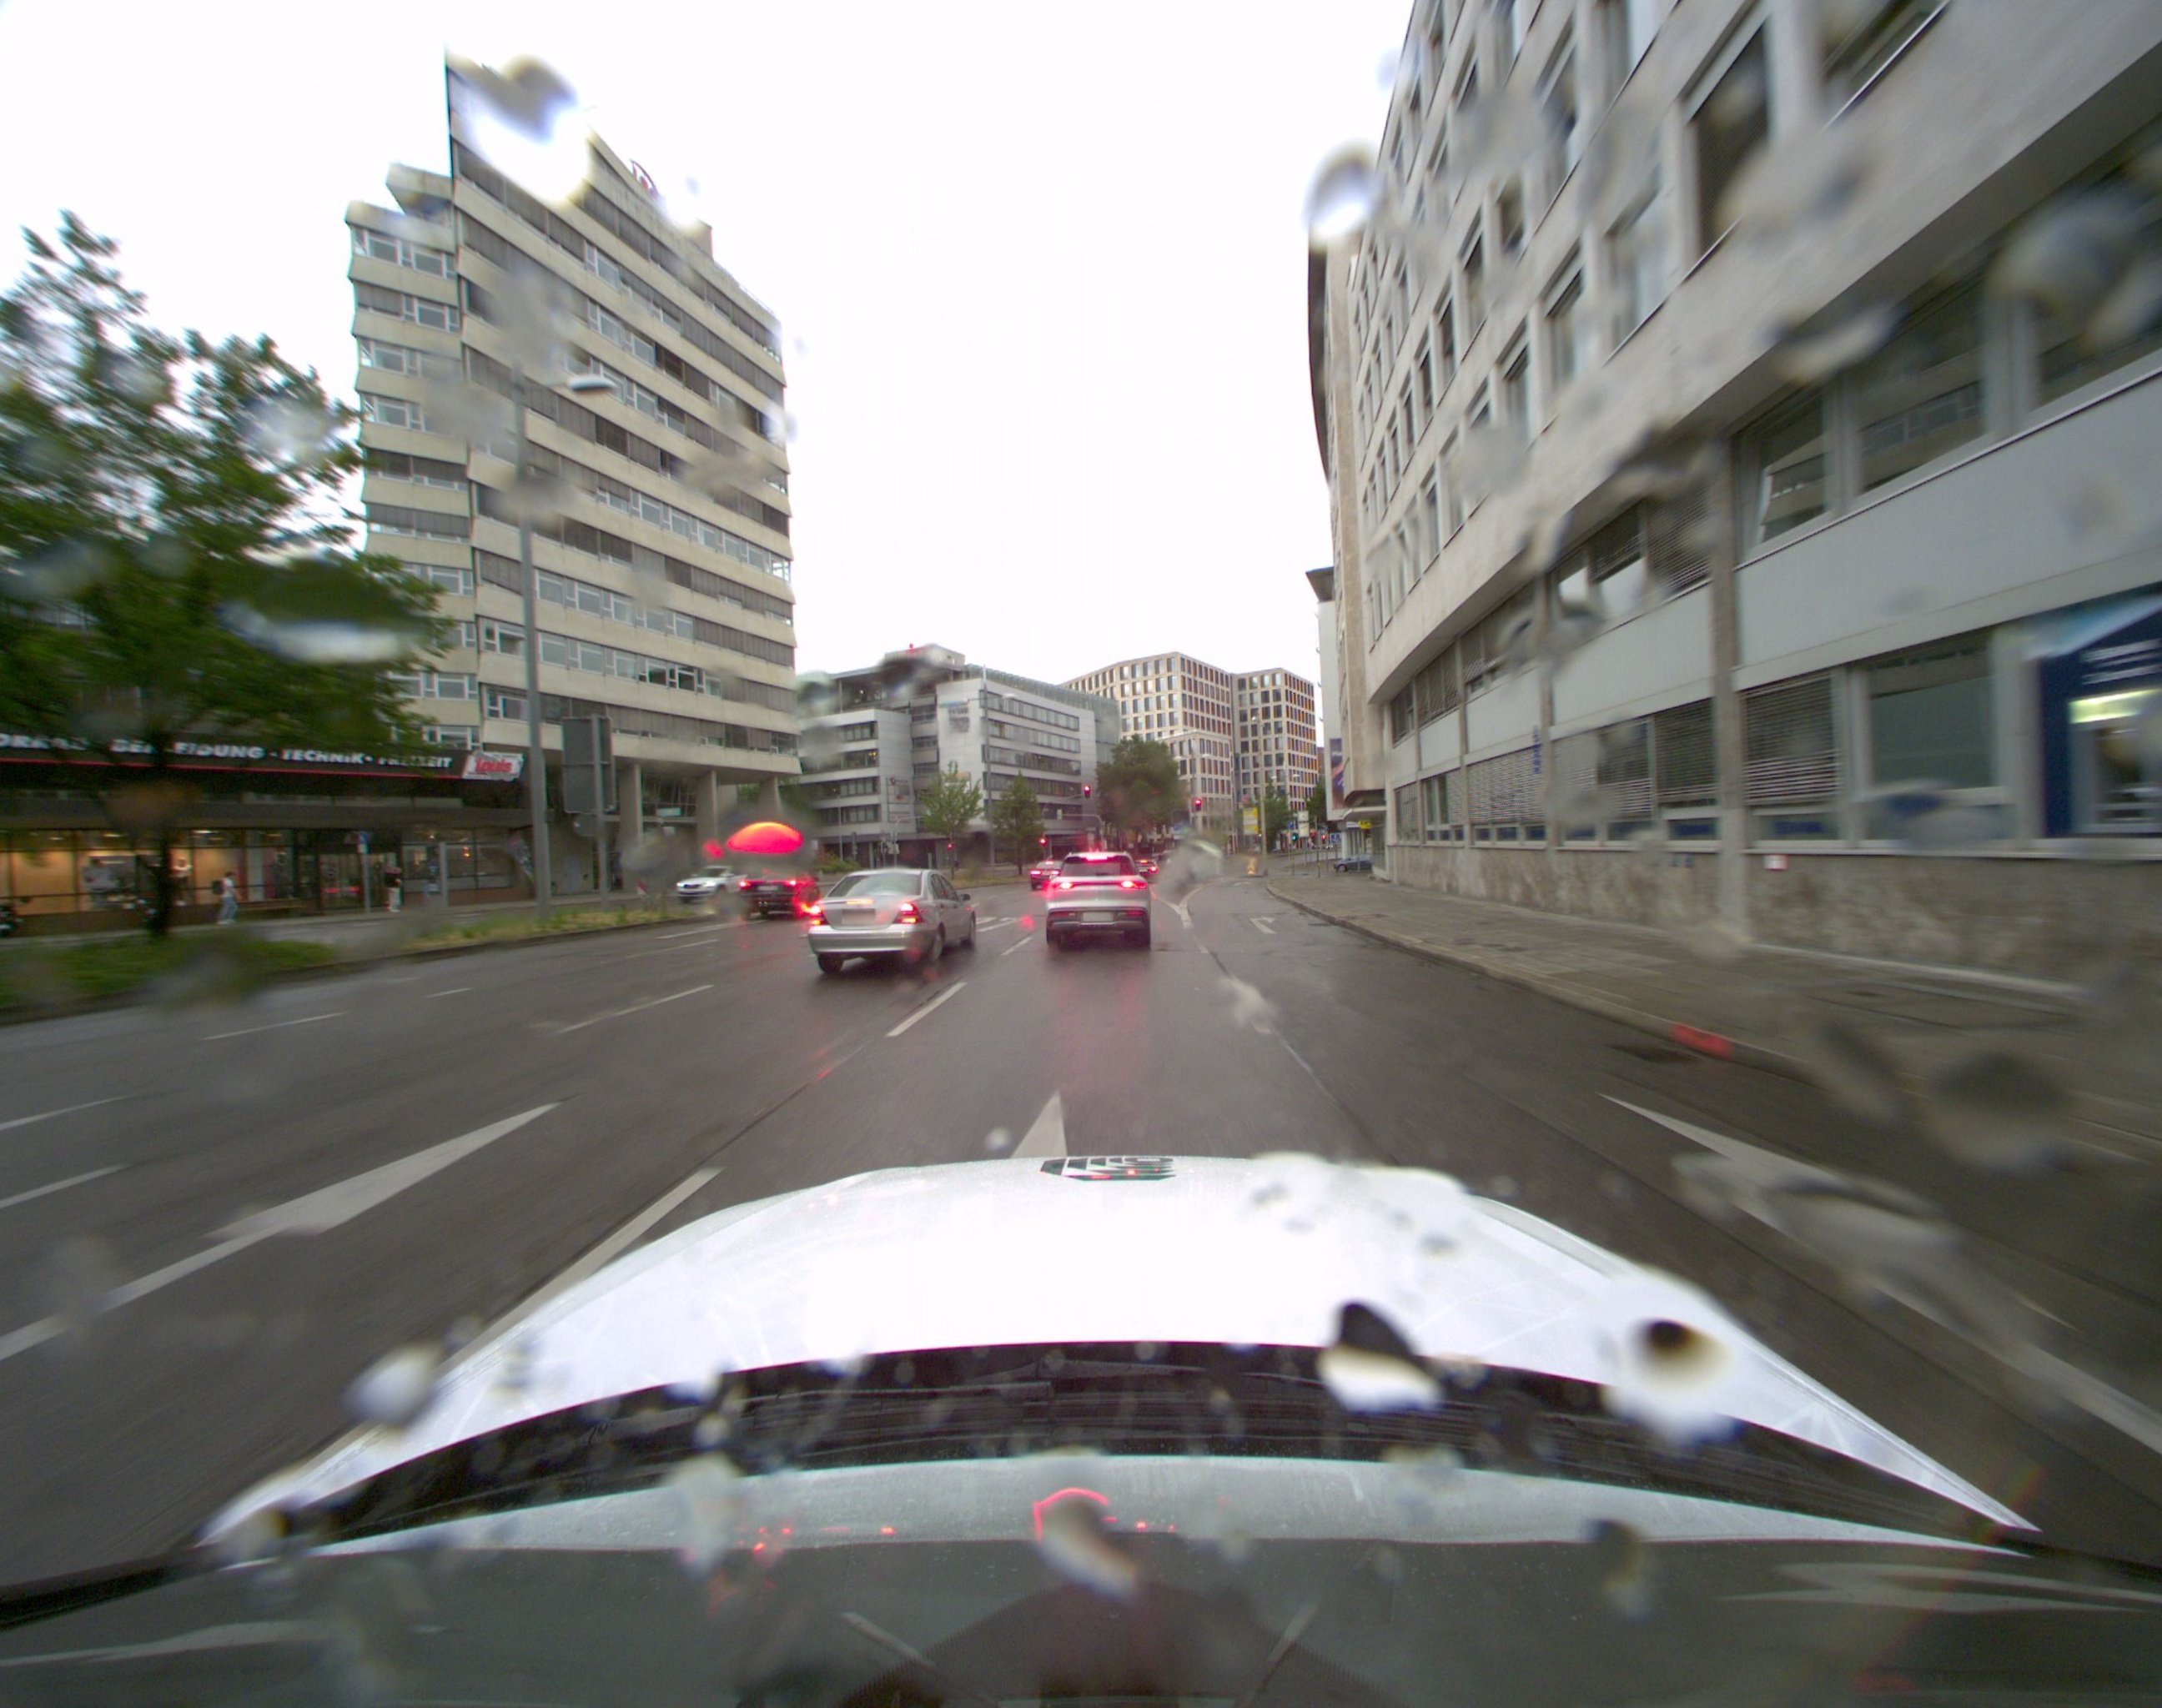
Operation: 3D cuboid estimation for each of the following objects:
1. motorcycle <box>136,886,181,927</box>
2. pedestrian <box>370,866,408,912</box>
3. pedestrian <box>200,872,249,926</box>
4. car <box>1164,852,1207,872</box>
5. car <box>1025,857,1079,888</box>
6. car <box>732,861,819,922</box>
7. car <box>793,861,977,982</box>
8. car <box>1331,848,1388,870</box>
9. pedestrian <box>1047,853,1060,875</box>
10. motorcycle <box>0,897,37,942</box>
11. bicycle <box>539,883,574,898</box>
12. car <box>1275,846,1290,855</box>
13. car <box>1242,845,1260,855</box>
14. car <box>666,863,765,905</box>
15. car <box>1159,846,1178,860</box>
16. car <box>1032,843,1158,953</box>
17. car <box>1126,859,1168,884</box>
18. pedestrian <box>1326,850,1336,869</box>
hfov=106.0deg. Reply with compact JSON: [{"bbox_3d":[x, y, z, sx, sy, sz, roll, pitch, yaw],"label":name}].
[{"bbox_3d":[-32.969,1.856,29.084,2.855,1.374,0.809,-2,-1,37],"label":"motorcycle"},{"bbox_3d":[-28.248,1.418,33.239,0.721,1.832,0.929,-2,-1,20],"label":"pedestrian"},{"bbox_3d":[-30.307,1.590,28.815,0.810,1.832,0.929,-2,-1,20],"label":"pedestrian"},{"bbox_3d":[9.749,0.737,76.512,2.002,1.750,4.497,-1,0,-22],"label":"car"},{"bbox_3d":[-1.504,0.953,43.741,1.942,1.530,4.013,-1,0,12],"label":"car"},{"bbox_3d":[-8.846,1.013,23.914,1.998,1.544,4.457,-2,0,-16],"label":"car"},{"bbox_3d":[-2.781,0.883,12.538,1.676,1.486,4.198,-2,0,1],"label":"car"},{"bbox_3d":[23.414,0.431,68.496,4.303,1.765,2.065,-1,0,25],"label":"car"},{"bbox_3d":[-2.202,0.811,64.757,0.919,1.738,0.729,-2,-1,-1],"label":"pedestrian"},{"bbox_3d":[-34.888,2.122,26.739,2.784,1.333,0.728,-2,-1,38],"label":"motorcycle"},{"bbox_3d":[-31.162,2.158,48.415,0.450,0.812,1.783,-1,-1,22],"label":"bicycle"},{"bbox_3d":[42.779,-0.753,172.833,1.974,1.705,4.336,-1,1,32],"label":"car"},{"bbox_3d":[32.264,-0.693,154.738,1.974,1.705,4.336,-1,1,32],"label":"car"},{"bbox_3d":[-16.484,1.305,37.036,1.725,1.728,4.509,-1,0,13],"label":"car"},{"bbox_3d":[13.706,-0.102,126.829,1.722,2.161,4.518,-1,0,22],"label":"car"},{"bbox_3d":[0.281,0.723,15.428,1.986,1.709,4.483,-2,0,1],"label":"car"},{"bbox_3d":[4.309,1.095,52.636,1.940,1.530,4.017,-2,0,16],"label":"car"},{"bbox_3d":[22.417,0.519,72.952,0.721,1.669,0.694,-2,-2,20],"label":"pedestrian"}]
